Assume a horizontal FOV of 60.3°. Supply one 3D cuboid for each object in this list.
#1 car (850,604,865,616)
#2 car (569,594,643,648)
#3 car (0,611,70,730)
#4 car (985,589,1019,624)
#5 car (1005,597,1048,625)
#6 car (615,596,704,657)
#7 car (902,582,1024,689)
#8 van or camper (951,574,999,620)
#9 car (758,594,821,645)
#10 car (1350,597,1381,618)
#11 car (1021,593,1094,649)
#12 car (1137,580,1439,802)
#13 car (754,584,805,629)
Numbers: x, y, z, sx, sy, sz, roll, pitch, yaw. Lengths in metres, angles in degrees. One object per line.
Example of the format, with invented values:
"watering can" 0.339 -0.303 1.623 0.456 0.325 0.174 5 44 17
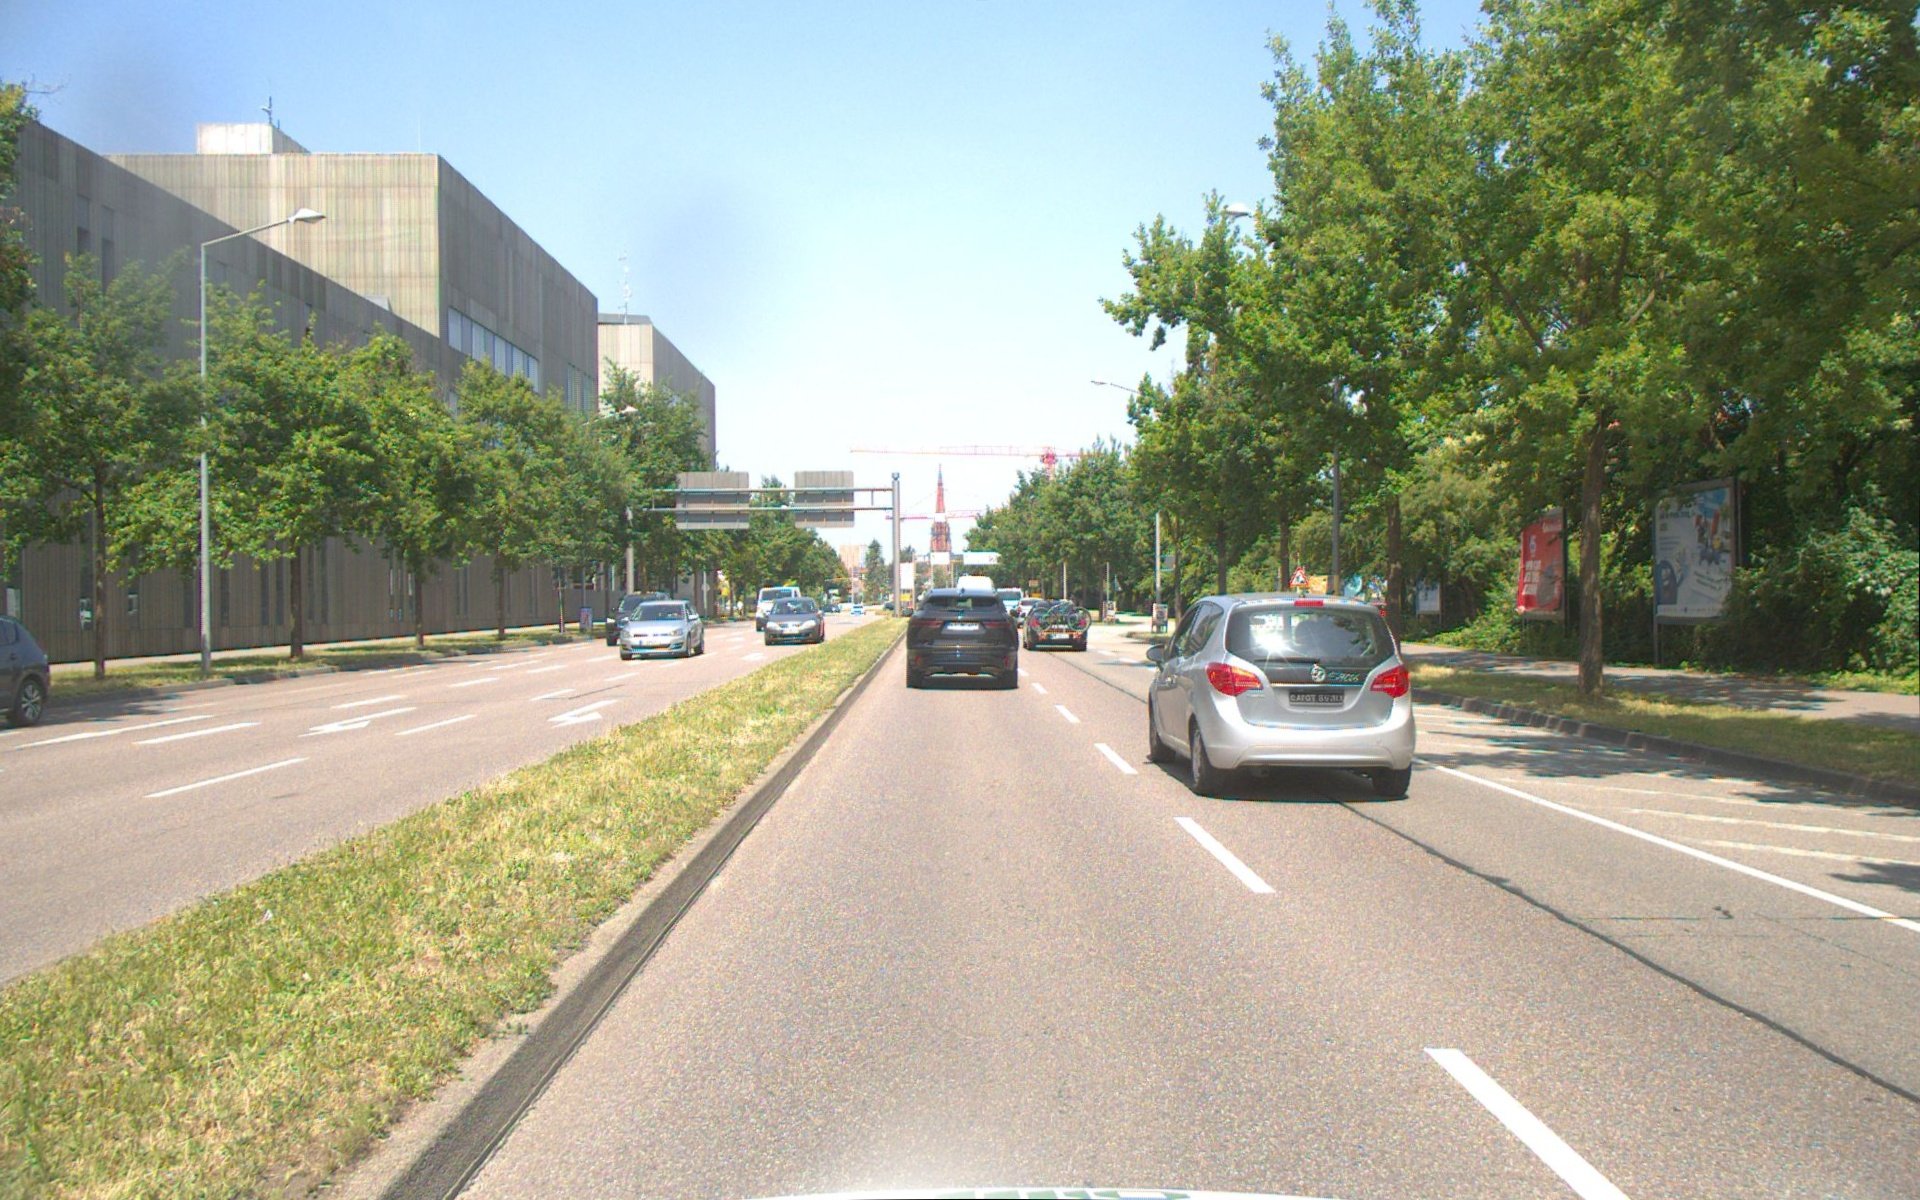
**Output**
"car" -13.193 1.237 213.349 1.774 1.452 4.356 -2 0 -3
"car" -12.438 0.717 58.391 1.774 1.777 4.644 -2 0 -3
"car" -13.674 0.990 21.651 1.774 1.570 4.368 -3 0 -3
"car" 2.512 0.400 99.368 1.953 2.049 4.000 -1 0 0
"car" 3.312 0.552 82.829 1.622 1.380 4.456 -1 0 -5
"car" -7.861 0.665 43.575 1.730 1.486 4.143 -2 0 -3
"car" 0.076 0.574 28.931 1.957 1.719 4.034 1 0 1
"van or camper" 0.829 -0.143 88.557 2.442 2.331 4.922 -1 -1 2
"car" -5.355 0.599 52.438 1.774 1.492 4.054 -2 0 -4
"car" 24.405 0.441 99.560 1.350 1.208 3.305 -1 0 6
"car" 2.822 0.619 48.620 1.972 1.544 4.461 -1 0 1
"car" 2.666 0.673 14.328 1.756 1.640 3.890 -1 0 -1
"car" -8.521 0.307 78.476 1.870 2.028 4.897 -2 0 0
